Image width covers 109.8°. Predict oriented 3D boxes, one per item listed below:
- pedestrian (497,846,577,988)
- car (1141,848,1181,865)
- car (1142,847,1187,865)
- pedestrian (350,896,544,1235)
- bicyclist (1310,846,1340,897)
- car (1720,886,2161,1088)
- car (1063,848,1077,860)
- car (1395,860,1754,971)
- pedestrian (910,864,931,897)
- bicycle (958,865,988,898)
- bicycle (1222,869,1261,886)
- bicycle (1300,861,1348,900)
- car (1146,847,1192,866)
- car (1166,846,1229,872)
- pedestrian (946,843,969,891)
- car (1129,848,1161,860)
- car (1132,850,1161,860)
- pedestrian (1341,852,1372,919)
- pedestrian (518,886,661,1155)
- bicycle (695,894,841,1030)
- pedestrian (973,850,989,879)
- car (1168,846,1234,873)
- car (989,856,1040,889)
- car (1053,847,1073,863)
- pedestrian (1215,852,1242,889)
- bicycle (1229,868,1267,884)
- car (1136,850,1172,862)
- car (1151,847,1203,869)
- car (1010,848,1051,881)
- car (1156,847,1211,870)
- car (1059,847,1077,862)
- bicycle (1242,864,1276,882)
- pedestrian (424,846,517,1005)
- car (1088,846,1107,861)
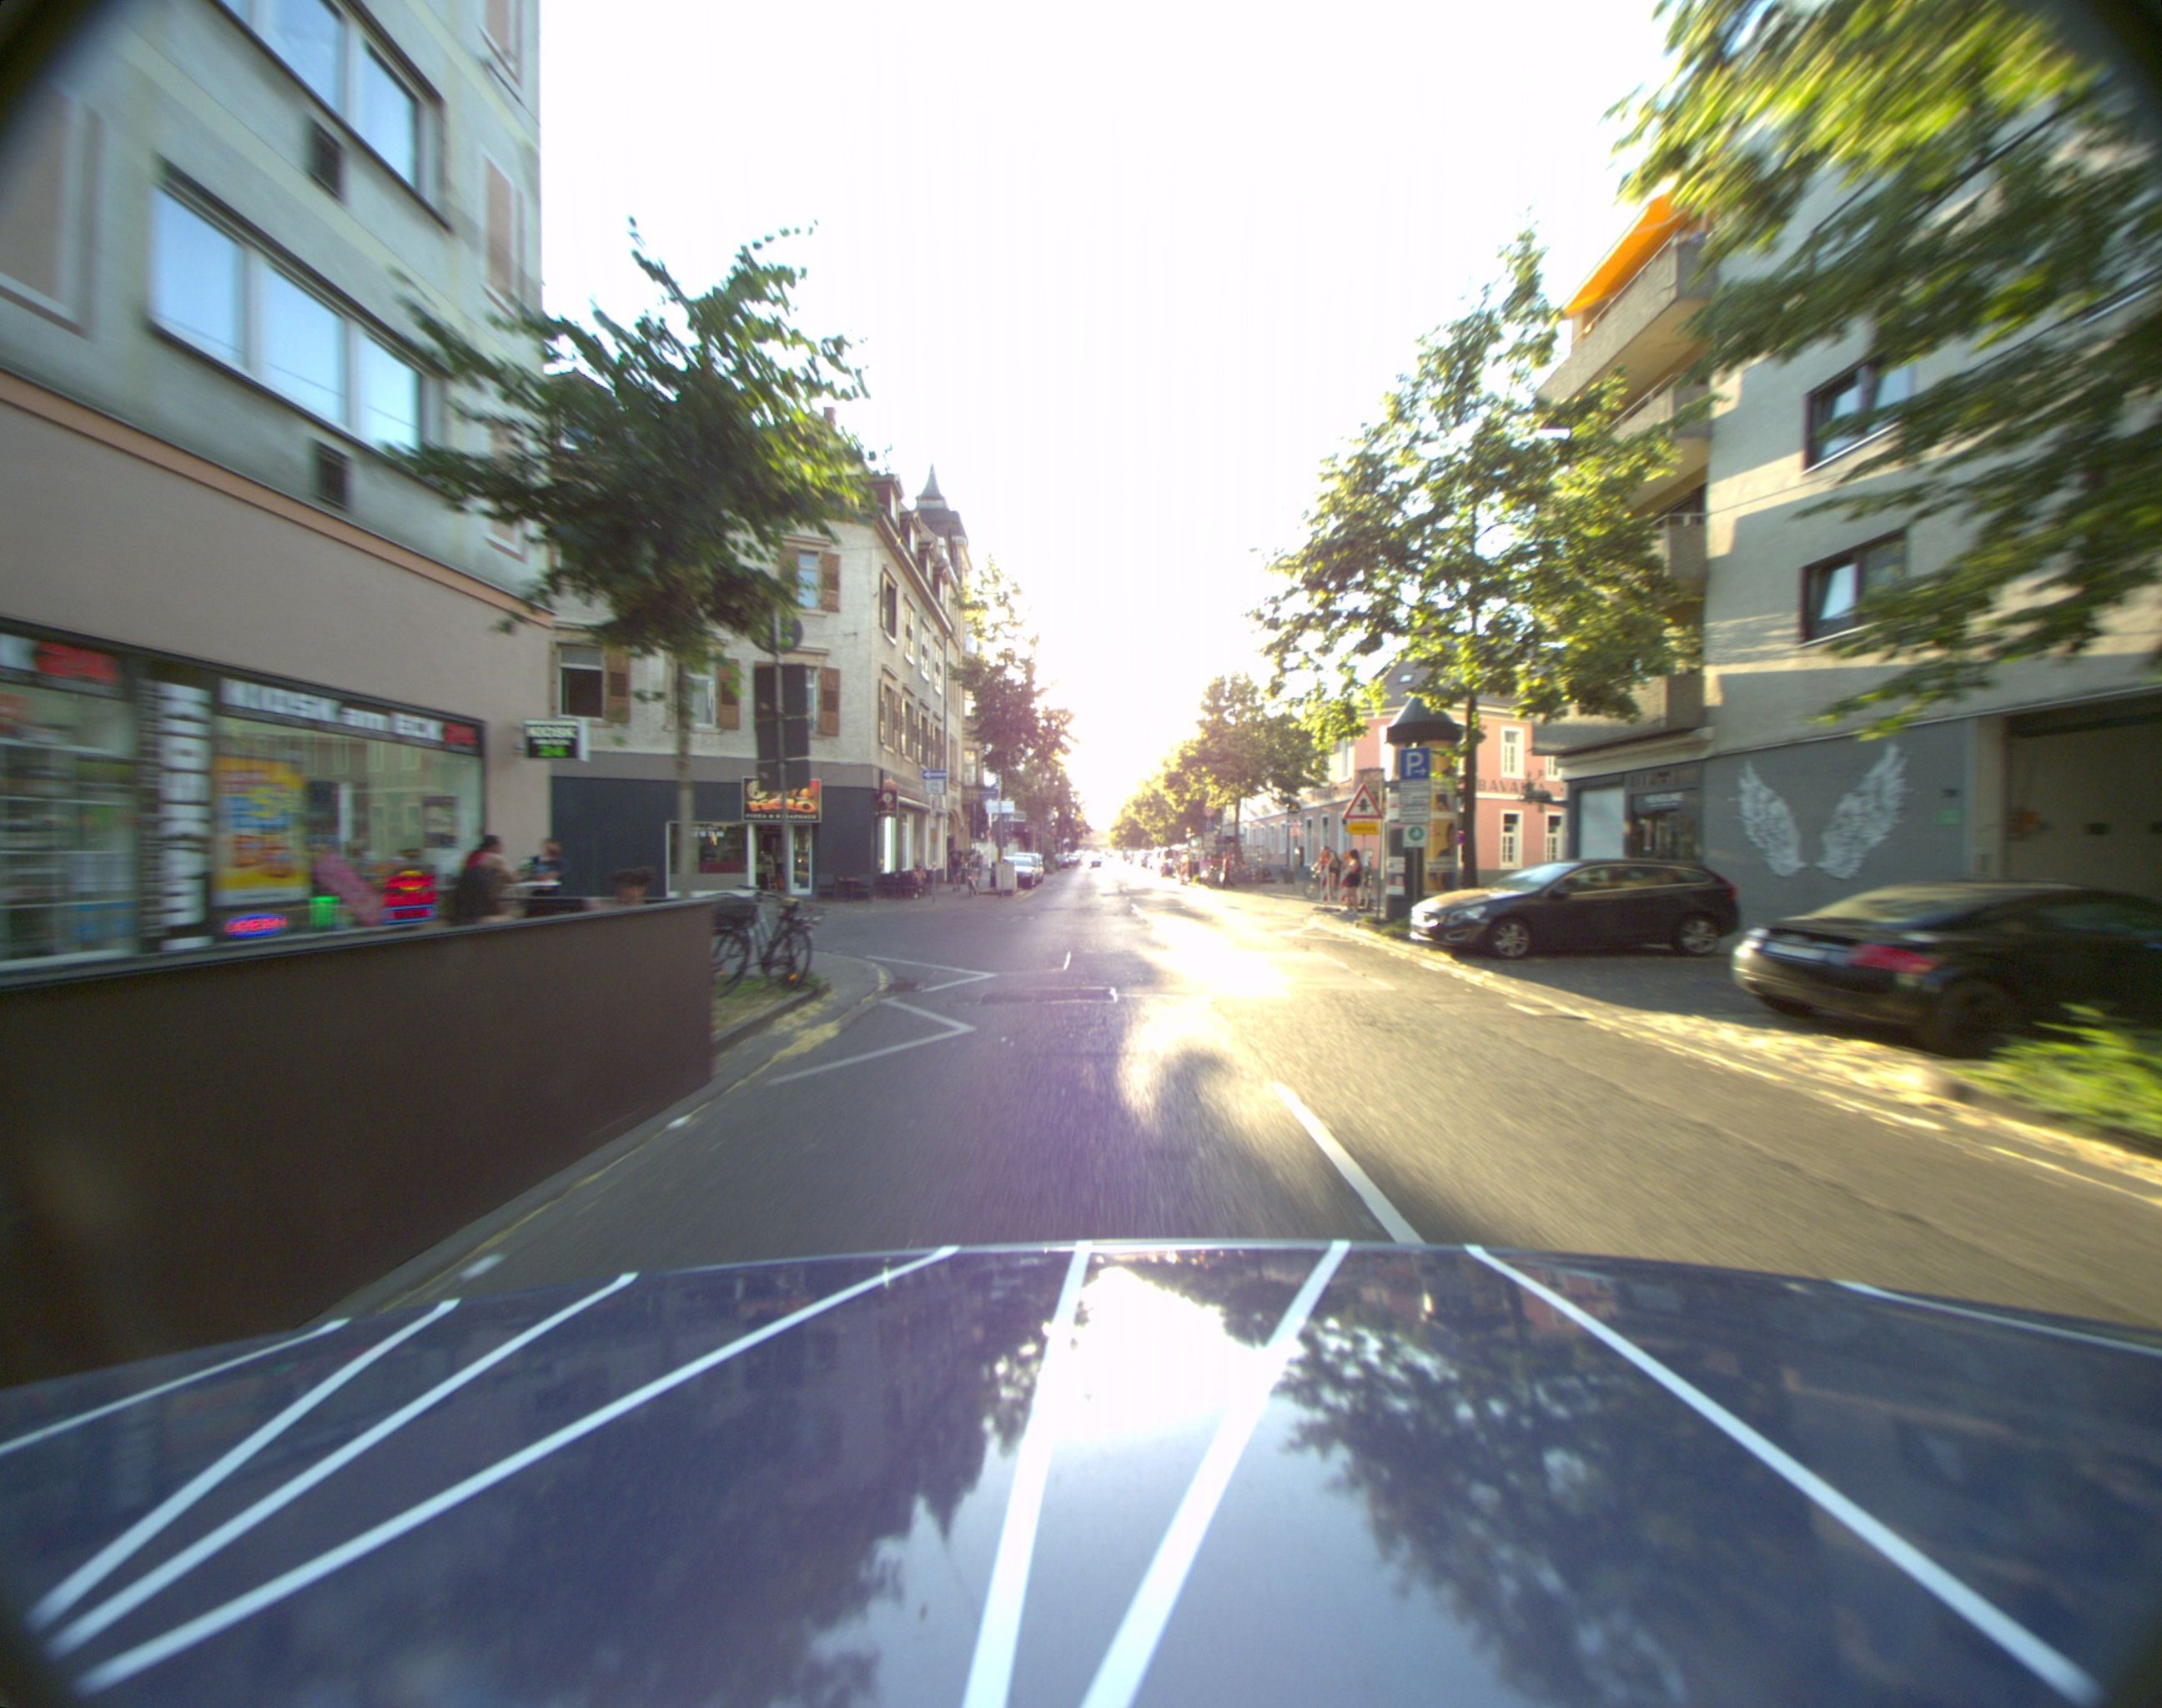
[{"bbox_3d":[-6.409,0.717,8.975,0.493,1.615,0.573,2,1,2],"label":"pedestrian"},{"bbox_3d":[8.605,0.261,81.688,4.152,1.771,1.826,0,1,0],"label":"car"},{"bbox_3d":[8.712,0.236,79.242,4.439,1.833,1.814,-1,1,0],"label":"car"},{"bbox_3d":[-3.025,0.961,3.664,0.448,1.472,0.547,2,1,2],"label":"pedestrian"},{"bbox_3d":[8.699,0.610,27.122,0.873,1.783,0.536,0,1,-24],"label":"bicyclist"},{"bbox_3d":[7.852,1.025,6.391,3.582,1.405,1.512,0,1,3],"label":"car"},{"bbox_3d":[-1.503,-0.028,104.988,1.825,1.658,4.155,0,1,2],"label":"car"},{"bbox_3d":[7.502,0.895,11.881,4.439,1.516,1.814,-1,1,0],"label":"car"},{"bbox_3d":[-5.609,0.919,26.546,0.551,1.128,0.648,2,1,2],"label":"pedestrian"},{"bbox_3d":[-3.877,0.982,27.414,0.478,1.101,2.062,0,1,8],"label":"bicycle"},{"bbox_3d":[7.628,1.115,36.013,1.796,0.761,0.408,0,1,13],"label":"bicycle"},{"bbox_3d":[8.683,0.921,27.116,1.832,1.335,0.405,0,1,-24],"label":"bicycle"},{"bbox_3d":[8.923,0.241,77.251,4.439,1.833,1.814,-1,1,0],"label":"car"},{"bbox_3d":[8.749,0.355,57.249,4.439,1.833,1.814,-1,1,0],"label":"car"},{"bbox_3d":[-4.977,0.517,30.574,0.719,1.864,0.756,2,1,2],"label":"pedestrian"},{"bbox_3d":[8.526,-0.018,101.207,4.151,1.469,1.827,0,1,2],"label":"car"},{"bbox_3d":[9.602,0.157,111.930,4.151,1.469,1.827,0,1,1],"label":"car"},{"bbox_3d":[6.849,0.760,18.920,0.550,1.638,0.721,0,1,4],"label":"pedestrian"},{"bbox_3d":[-2.922,0.948,4.554,0.448,1.472,0.563,2,1,2],"label":"pedestrian"},{"bbox_3d":[-3.364,1.075,8.065,2.055,1.208,0.479,0,1,38],"label":"bicycle"},{"bbox_3d":[-5.548,0.558,42.252,0.719,1.565,0.756,2,1,2],"label":"pedestrian"},{"bbox_3d":[8.556,0.407,54.504,4.439,1.833,1.814,-1,1,0],"label":"car"},{"bbox_3d":[-2.961,0.791,34.733,1.825,1.344,4.155,0,1,2],"label":"car"},{"bbox_3d":[-1.882,0.091,78.865,1.825,1.658,4.155,0,1,2],"label":"car"},{"bbox_3d":[6.704,0.733,34.483,0.898,1.671,0.795,-1,1,-36],"label":"pedestrian"},{"bbox_3d":[8.119,1.085,37.013,1.796,0.761,0.408,0,1,13],"label":"bicycle"},{"bbox_3d":[8.598,0.245,89.671,4.152,1.469,1.826,0,1,0],"label":"car"},{"bbox_3d":[8.595,0.348,68.392,4.439,1.833,1.814,-1,1,0],"label":"car"},{"bbox_3d":[-2.688,0.543,41.108,1.825,1.658,4.155,0,1,2],"label":"car"},{"bbox_3d":[8.639,0.372,64.191,4.439,1.833,1.814,-1,1,0],"label":"car"},{"bbox_3d":[-1.402,0.007,84.738,1.825,1.658,4.155,0,1,2],"label":"car"},{"bbox_3d":[9.021,0.957,38.486,1.801,0.858,0.444,0,1,-23],"label":"bicycle"},{"bbox_3d":[-6.465,0.729,8.070,0.493,1.615,0.573,2,1,2],"label":"pedestrian"},{"bbox_3d":[1.680,-0.029,77.365,1.825,1.469,4.155,0,1,2],"label":"car"}]
